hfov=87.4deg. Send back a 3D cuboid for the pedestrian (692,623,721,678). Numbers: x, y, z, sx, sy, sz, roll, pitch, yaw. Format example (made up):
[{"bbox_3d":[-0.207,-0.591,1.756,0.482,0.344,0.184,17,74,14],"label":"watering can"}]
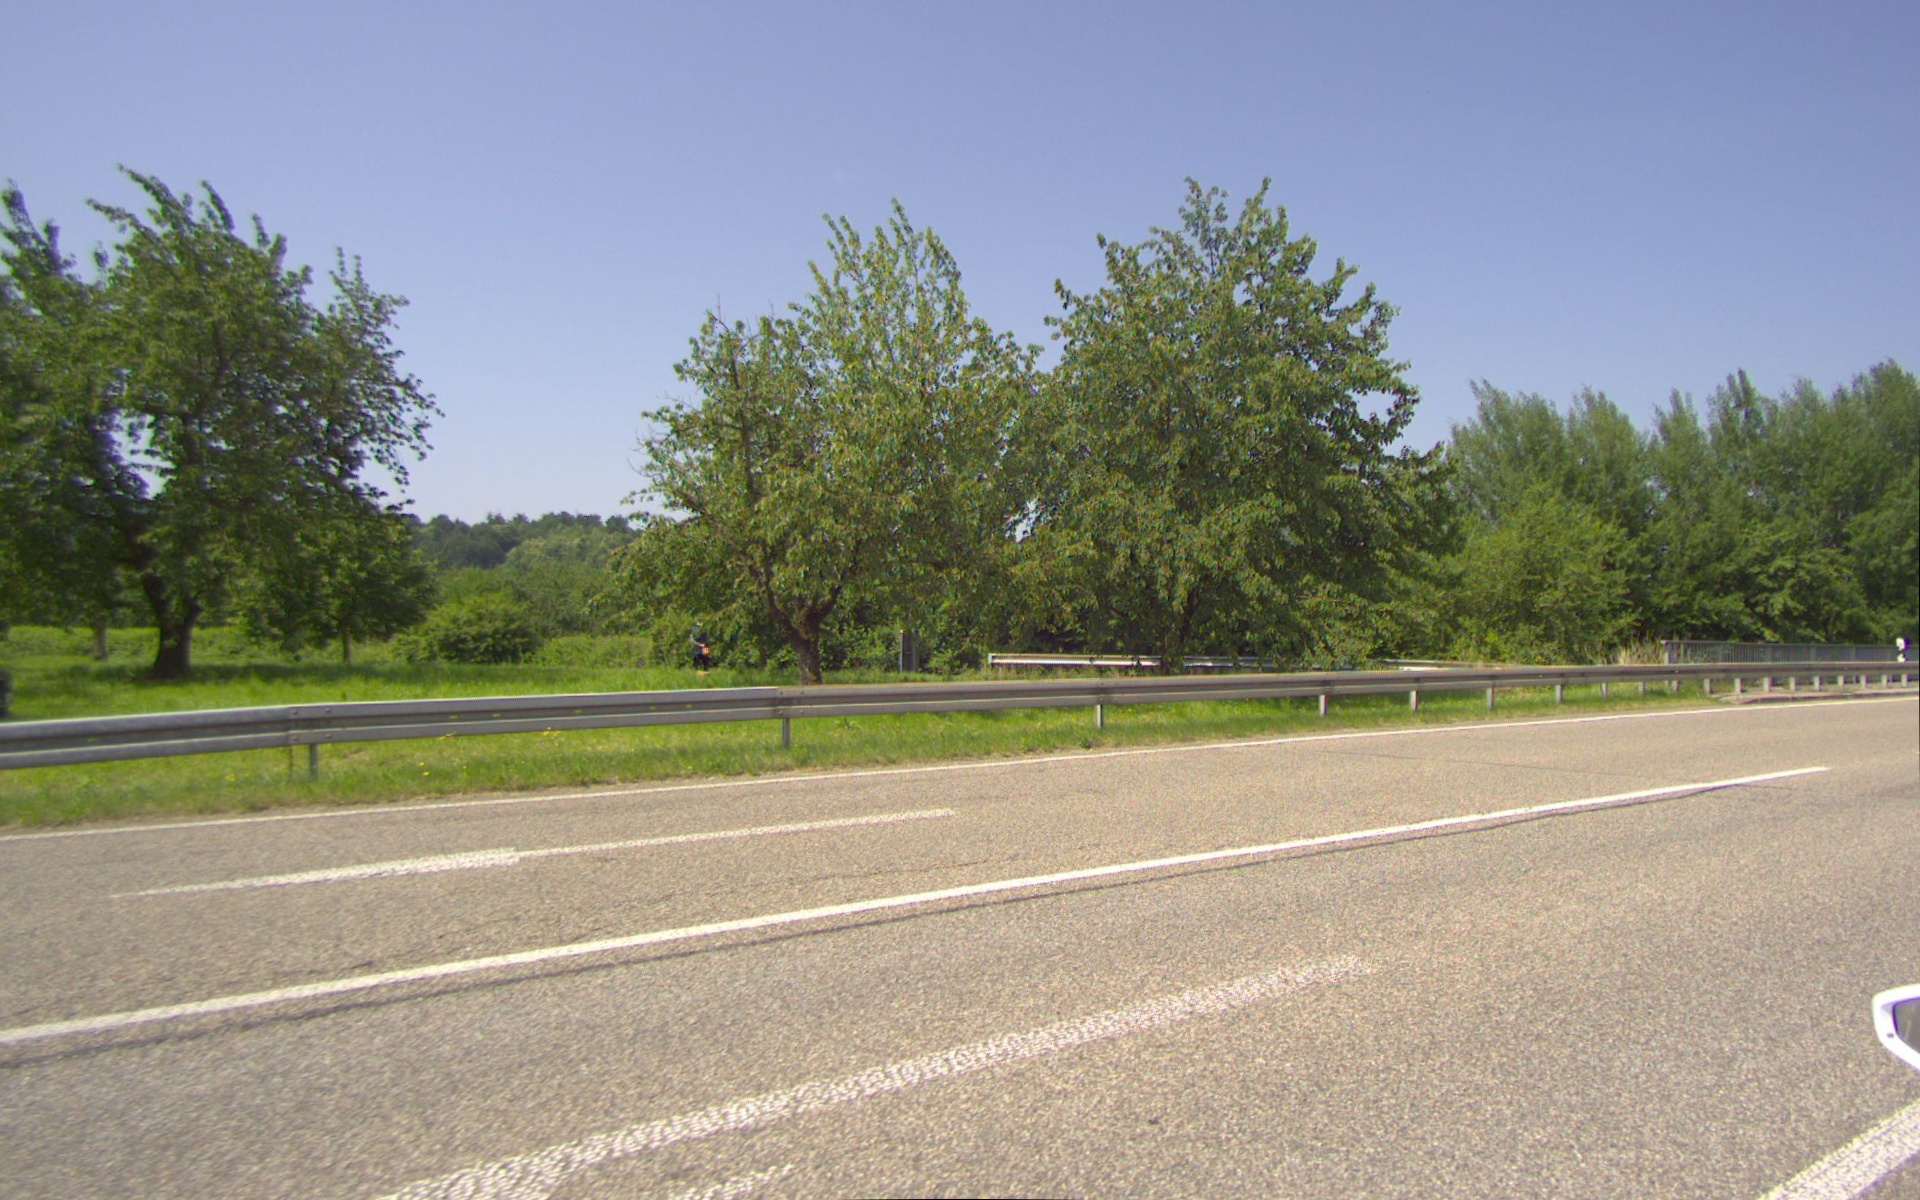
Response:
[{"bbox_3d":[-6.256,1.242,24.796,0.549,1.314,0.571,1,0,-29],"label":"pedestrian"}]

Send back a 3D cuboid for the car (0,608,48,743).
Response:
[{"bbox_3d":[-12.242,0.778,10.330,4.004,1.441,1.693,2,-2,-36],"label":"car"}]
